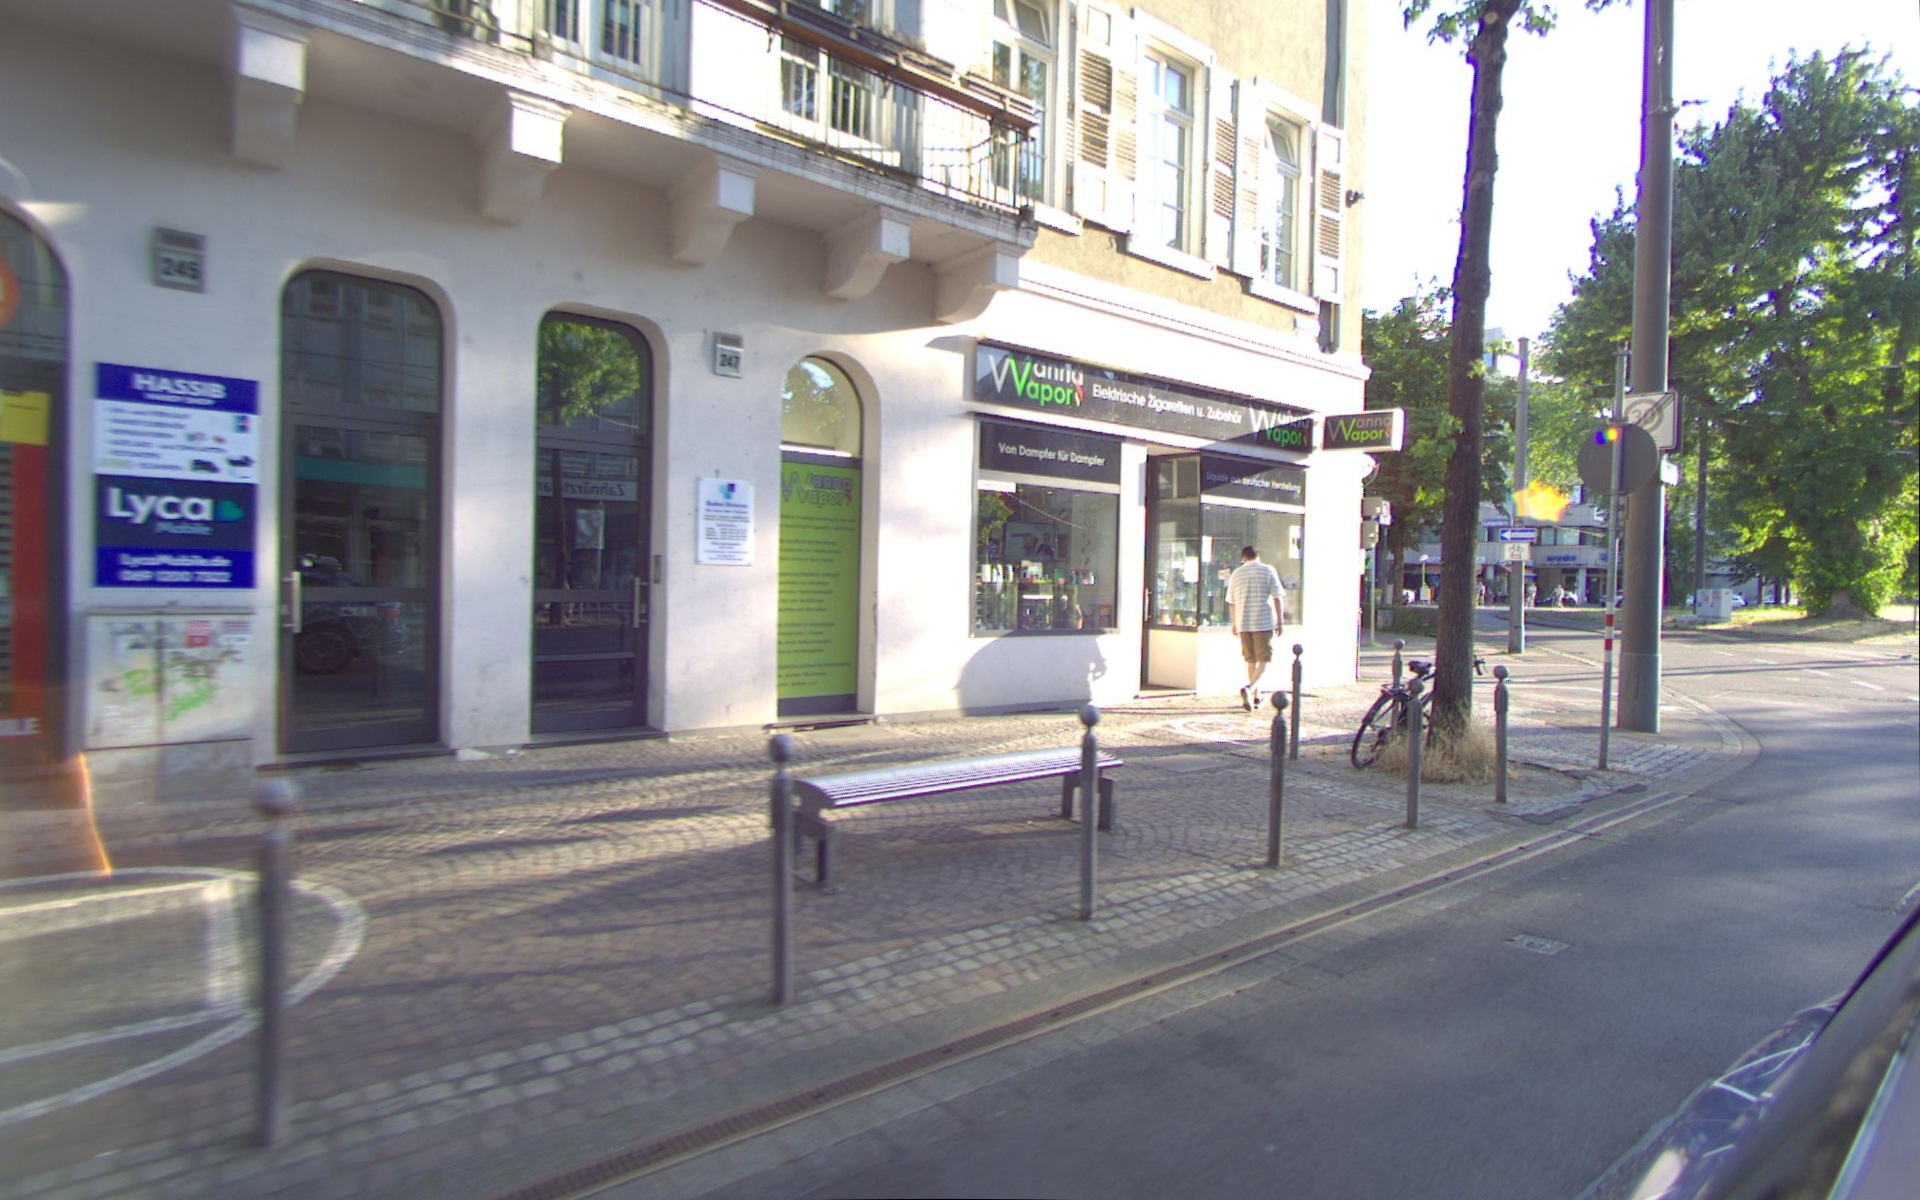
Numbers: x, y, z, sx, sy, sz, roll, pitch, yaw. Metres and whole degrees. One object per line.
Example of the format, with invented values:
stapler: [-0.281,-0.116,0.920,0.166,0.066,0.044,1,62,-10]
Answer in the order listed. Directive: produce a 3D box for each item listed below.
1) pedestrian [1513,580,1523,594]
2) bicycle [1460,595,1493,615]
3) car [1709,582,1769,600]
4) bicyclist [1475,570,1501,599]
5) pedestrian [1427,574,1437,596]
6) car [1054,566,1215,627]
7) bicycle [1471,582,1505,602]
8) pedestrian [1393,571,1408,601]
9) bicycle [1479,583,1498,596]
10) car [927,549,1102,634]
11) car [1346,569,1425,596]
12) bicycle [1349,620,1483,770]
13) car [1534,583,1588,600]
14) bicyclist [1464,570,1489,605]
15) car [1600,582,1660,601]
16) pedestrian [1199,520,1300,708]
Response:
pedestrian: [52.812,-1.208,95.759,0.610,1.337,0.582,3,3,43]
bicycle: [30.254,0.267,59.310,0.919,1.090,2.219,1,2,4]
car: [73.088,-0.845,94.941,4.429,1.625,2.004,1,1,-11]
bicyclist: [37.123,-1.112,71.195,1.233,2.016,1.345,3,2,44]
pedestrian: [41.622,-1.345,89.227,0.596,1.859,0.571,6,5,19]
car: [4.989,-0.166,29.568,1.708,1.532,4.671,0,3,-39]
bicycle: [37.287,-0.575,71.388,1.269,1.378,3.190,3,3,44]
pedestrian: [26.858,-0.841,61.699,0.587,1.765,0.633,3,1,42]
bicycle: [48.332,-0.952,92.563,1.432,1.004,0.527,4,4,26]
car: [1.313,-0.290,26.217,1.987,1.987,4.509,0,3,-39]
car: [29.925,-1.260,71.263,1.967,1.793,4.700,0,2,-43]
bicycle: [3.835,0.741,8.449,1.670,1.090,0.355,-1,2,-42]
car: [53.573,-0.762,90.230,3.916,1.460,1.799,1,1,-12]
bicyclist: [30.298,-0.724,59.397,0.908,1.998,1.113,1,1,3]
car: [60.833,-0.761,91.907,4.429,1.625,2.004,1,1,-11]
pedestrian: [3.316,0.132,11.574,0.838,2.038,0.836,2,2,36]
